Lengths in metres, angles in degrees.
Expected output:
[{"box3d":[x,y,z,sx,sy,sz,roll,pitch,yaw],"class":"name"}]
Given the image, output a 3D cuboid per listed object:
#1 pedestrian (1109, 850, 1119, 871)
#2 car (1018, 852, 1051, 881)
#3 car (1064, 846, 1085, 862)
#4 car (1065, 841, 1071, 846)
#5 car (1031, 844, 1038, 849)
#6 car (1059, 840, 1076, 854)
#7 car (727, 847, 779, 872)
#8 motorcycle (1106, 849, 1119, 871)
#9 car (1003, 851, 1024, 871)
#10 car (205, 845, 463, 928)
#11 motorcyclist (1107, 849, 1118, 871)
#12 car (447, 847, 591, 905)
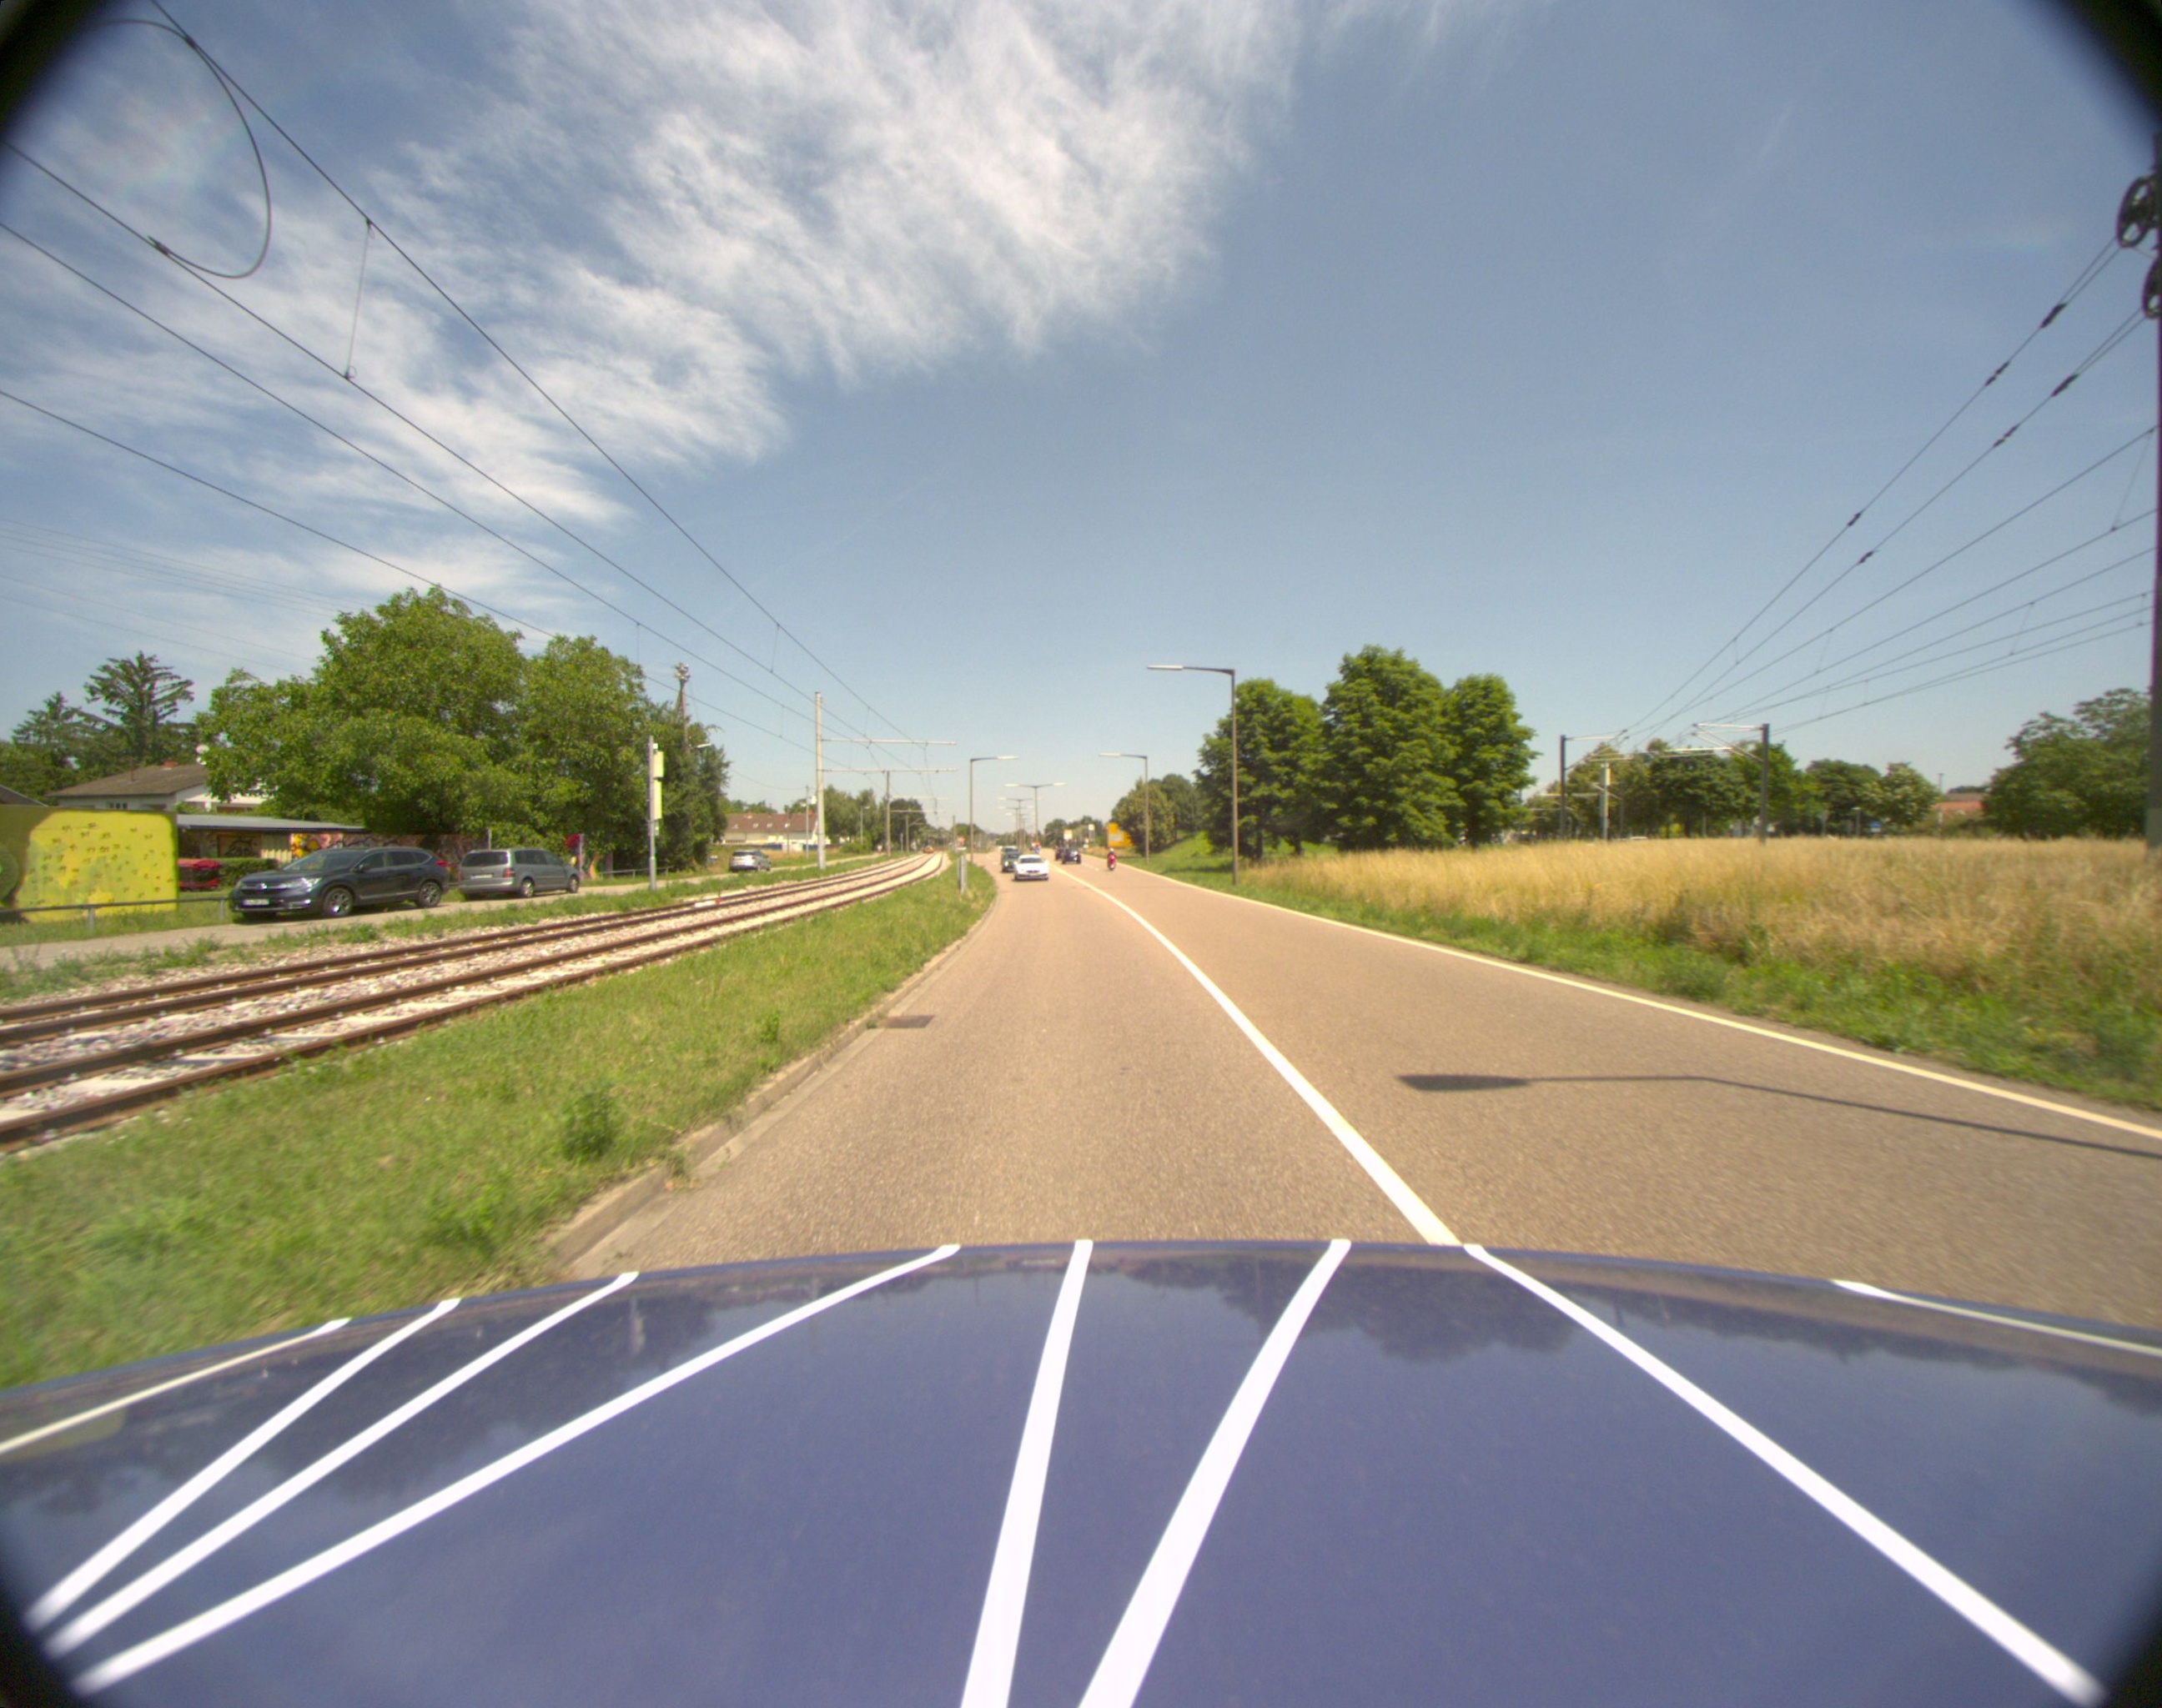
[{"box3d":[2.380,0.478,55.153,0.644,1.527,0.577,-1,0,-4],"class":"pedestrian"},{"box3d":[-2.713,0.703,43.750,1.772,1.434,4.126,-1,2,-5],"class":"car"},{"box3d":[-0.701,-0.018,76.727,1.832,1.592,4.482,-1,0,-4],"class":"car"},{"box3d":[-4.158,-3.518,249.331,1.654,1.577,3.816,-1,2,-6],"class":"car"},{"box3d":[-14.346,-2.259,234.093,1.619,1.387,3.597,-1,2,-8],"class":"car"},{"box3d":[-1.648,-0.868,91.456,1.827,1.563,4.109,-1,2,-3],"class":"car"},{"box3d":[-20.744,0.326,48.227,1.685,1.406,4.545,-1,2,-6],"class":"car"},{"box3d":[2.321,0.484,55.828,0.706,1.577,2.146,-1,-1,-4],"class":"motorcycle"},{"box3d":[-5.255,0.508,58.986,1.510,1.424,3.355,-1,2,-7],"class":"car"},{"box3d":[-18.093,0.670,18.836,1.833,1.647,4.812,-1,2,-4],"class":"car"},{"box3d":[2.330,0.440,55.941,0.690,1.576,0.670,-1,-1,-4],"class":"motorcyclist"},{"box3d":[-18.344,0.629,25.121,1.682,1.615,4.706,-1,2,-7],"class":"car"}]
